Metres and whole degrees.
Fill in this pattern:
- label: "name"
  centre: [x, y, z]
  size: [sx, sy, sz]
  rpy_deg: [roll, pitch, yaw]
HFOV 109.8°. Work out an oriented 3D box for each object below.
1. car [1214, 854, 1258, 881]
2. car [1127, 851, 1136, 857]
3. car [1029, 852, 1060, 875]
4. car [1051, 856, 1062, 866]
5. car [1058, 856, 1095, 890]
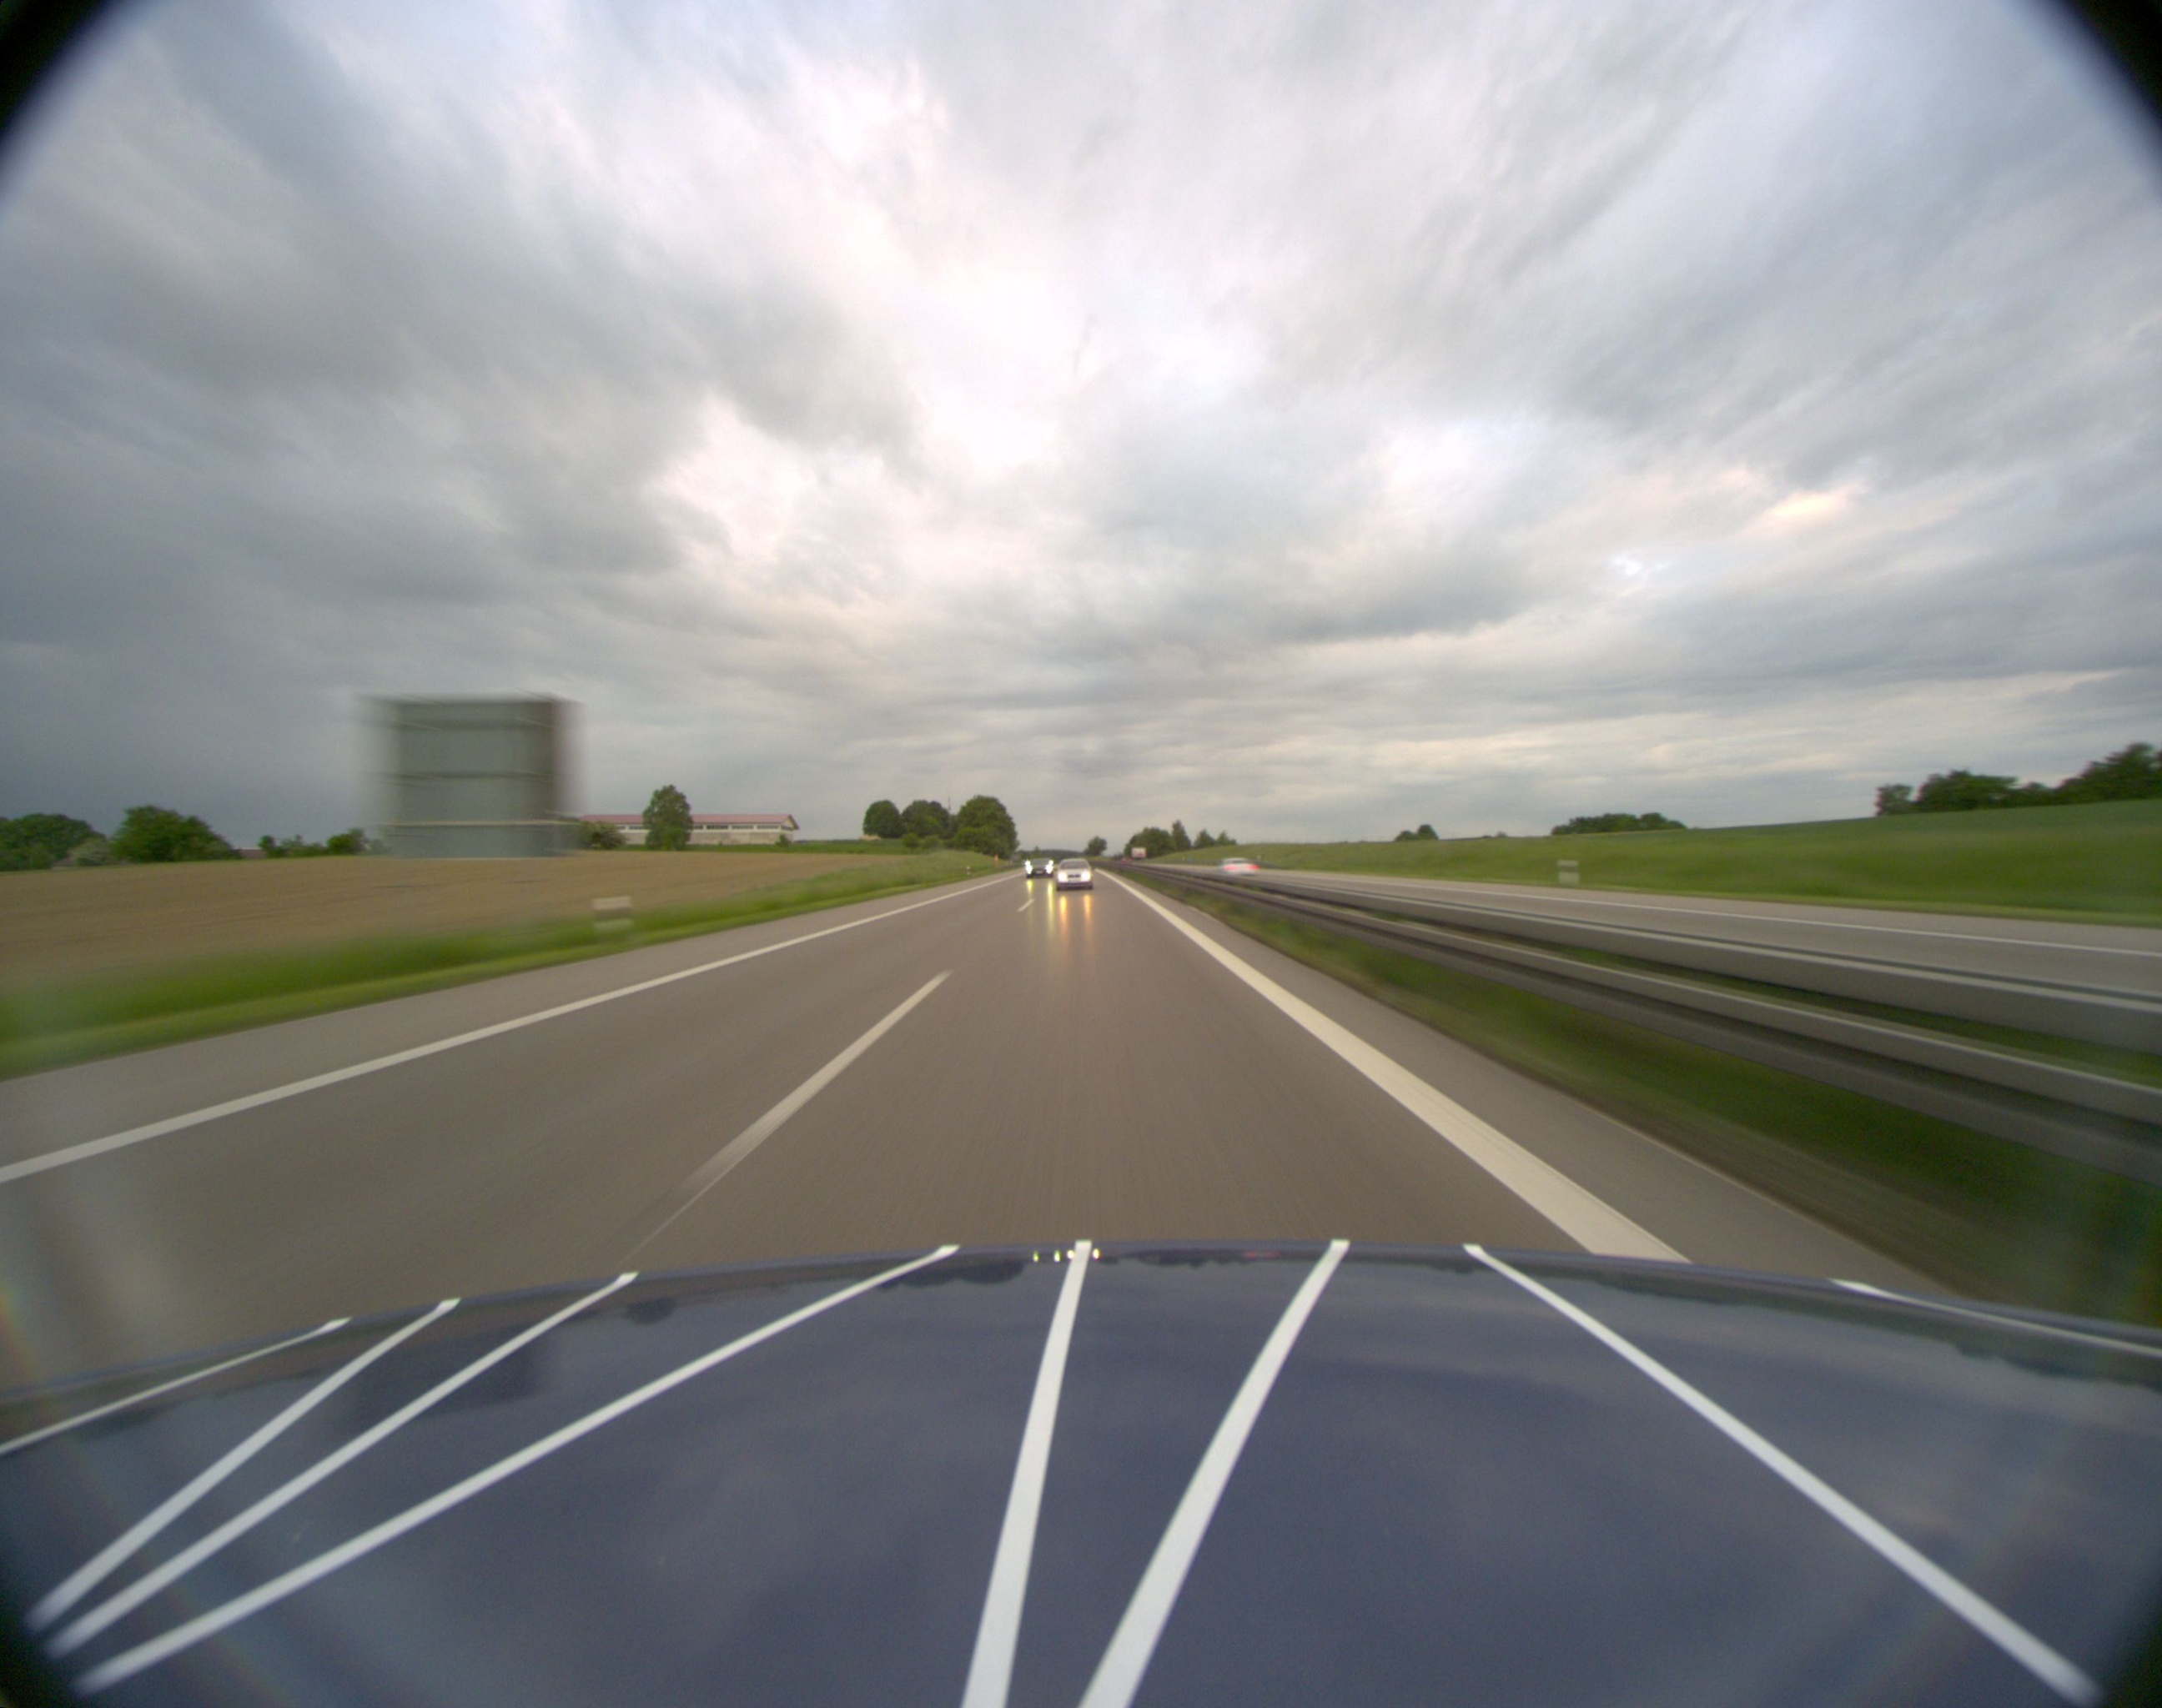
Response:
- label: "car"
  centre: [9.679, 0.797, 47.876]
  size: [1.733, 1.478, 4.930]
  rpy_deg: [-2, 1, 0]
- label: "car"
  centre: [10.865, 0.014, 163.823]
  size: [1.553, 1.363, 3.798]
  rpy_deg: [-2, 1, -1]
- label: "car"
  centre: [-2.761, 0.691, 58.072]
  size: [1.951, 1.620, 4.536]
  rpy_deg: [-1, 1, 3]
- label: "car"
  centre: [-4.427, 1.216, 136.668]
  size: [1.807, 1.619, 3.903]
  rpy_deg: [-1, 1, -1]
- label: "car"
  centre: [-0.207, 0.842, 35.534]
  size: [1.592, 1.381, 4.600]
  rpy_deg: [0, 1, 0]
